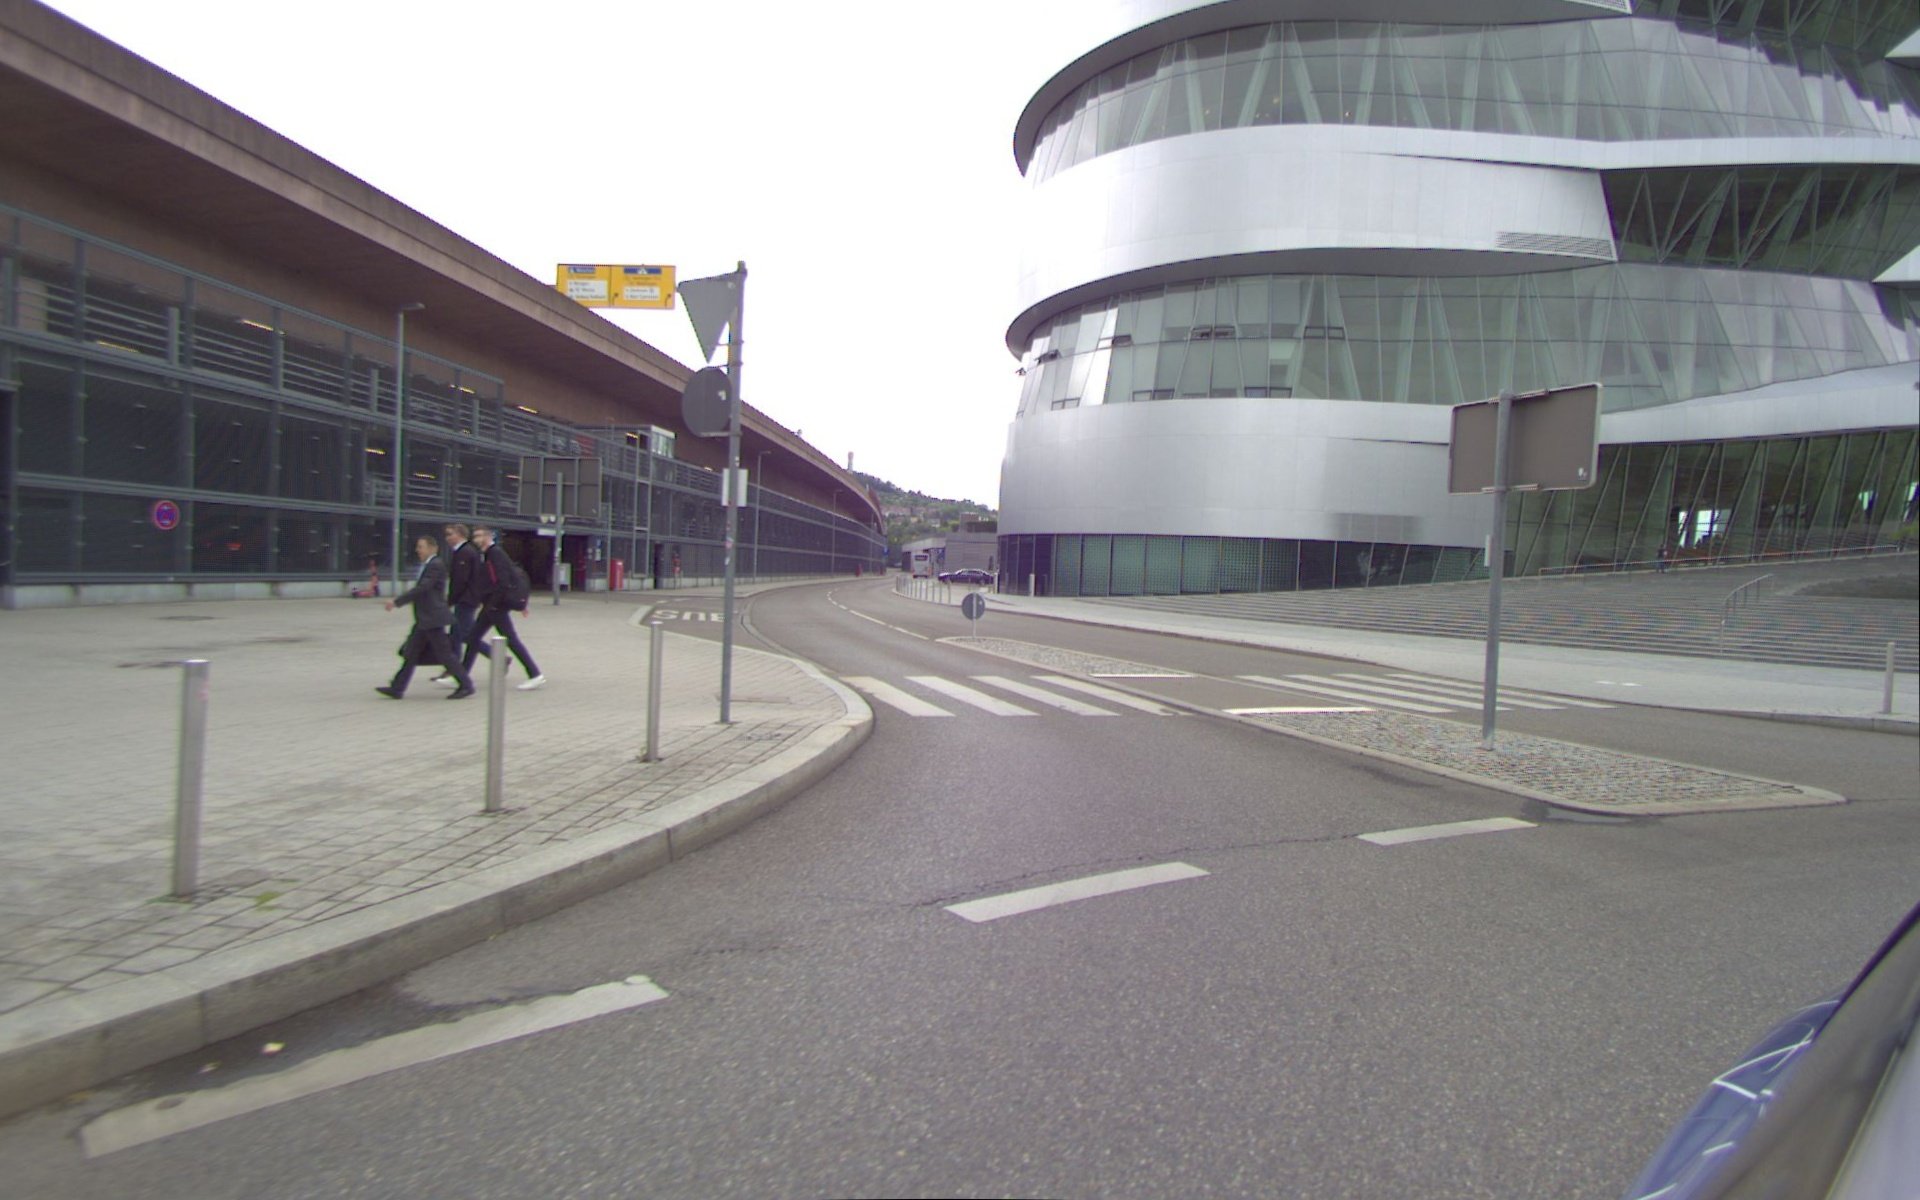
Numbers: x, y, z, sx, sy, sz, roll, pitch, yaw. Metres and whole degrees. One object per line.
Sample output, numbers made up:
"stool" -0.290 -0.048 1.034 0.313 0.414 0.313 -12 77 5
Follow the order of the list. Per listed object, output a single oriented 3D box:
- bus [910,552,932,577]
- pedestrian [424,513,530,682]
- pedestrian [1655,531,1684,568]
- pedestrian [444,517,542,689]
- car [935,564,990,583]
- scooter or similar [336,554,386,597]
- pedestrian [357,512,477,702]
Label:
"bus" -5.787 -5.268 150.415 2.876 3.484 6.969 3 1 -1
"pedestrian" -5.496 -0.039 11.563 0.767 1.821 0.866 3 0 -5
"pedestrian" 37.926 -2.687 54.097 0.933 1.948 0.854 -1 1 -7
"pedestrian" -4.928 0.028 10.728 0.756 1.726 0.789 3 0 -16
"car" 0.228 -2.393 90.613 4.819 1.415 1.534 3 1 3
"scooter or similar" -16.325 -0.656 27.613 0.374 1.137 1.426 3 1 5
"pedestrian" -5.209 0.059 9.767 0.756 1.726 0.867 3 0 -13
